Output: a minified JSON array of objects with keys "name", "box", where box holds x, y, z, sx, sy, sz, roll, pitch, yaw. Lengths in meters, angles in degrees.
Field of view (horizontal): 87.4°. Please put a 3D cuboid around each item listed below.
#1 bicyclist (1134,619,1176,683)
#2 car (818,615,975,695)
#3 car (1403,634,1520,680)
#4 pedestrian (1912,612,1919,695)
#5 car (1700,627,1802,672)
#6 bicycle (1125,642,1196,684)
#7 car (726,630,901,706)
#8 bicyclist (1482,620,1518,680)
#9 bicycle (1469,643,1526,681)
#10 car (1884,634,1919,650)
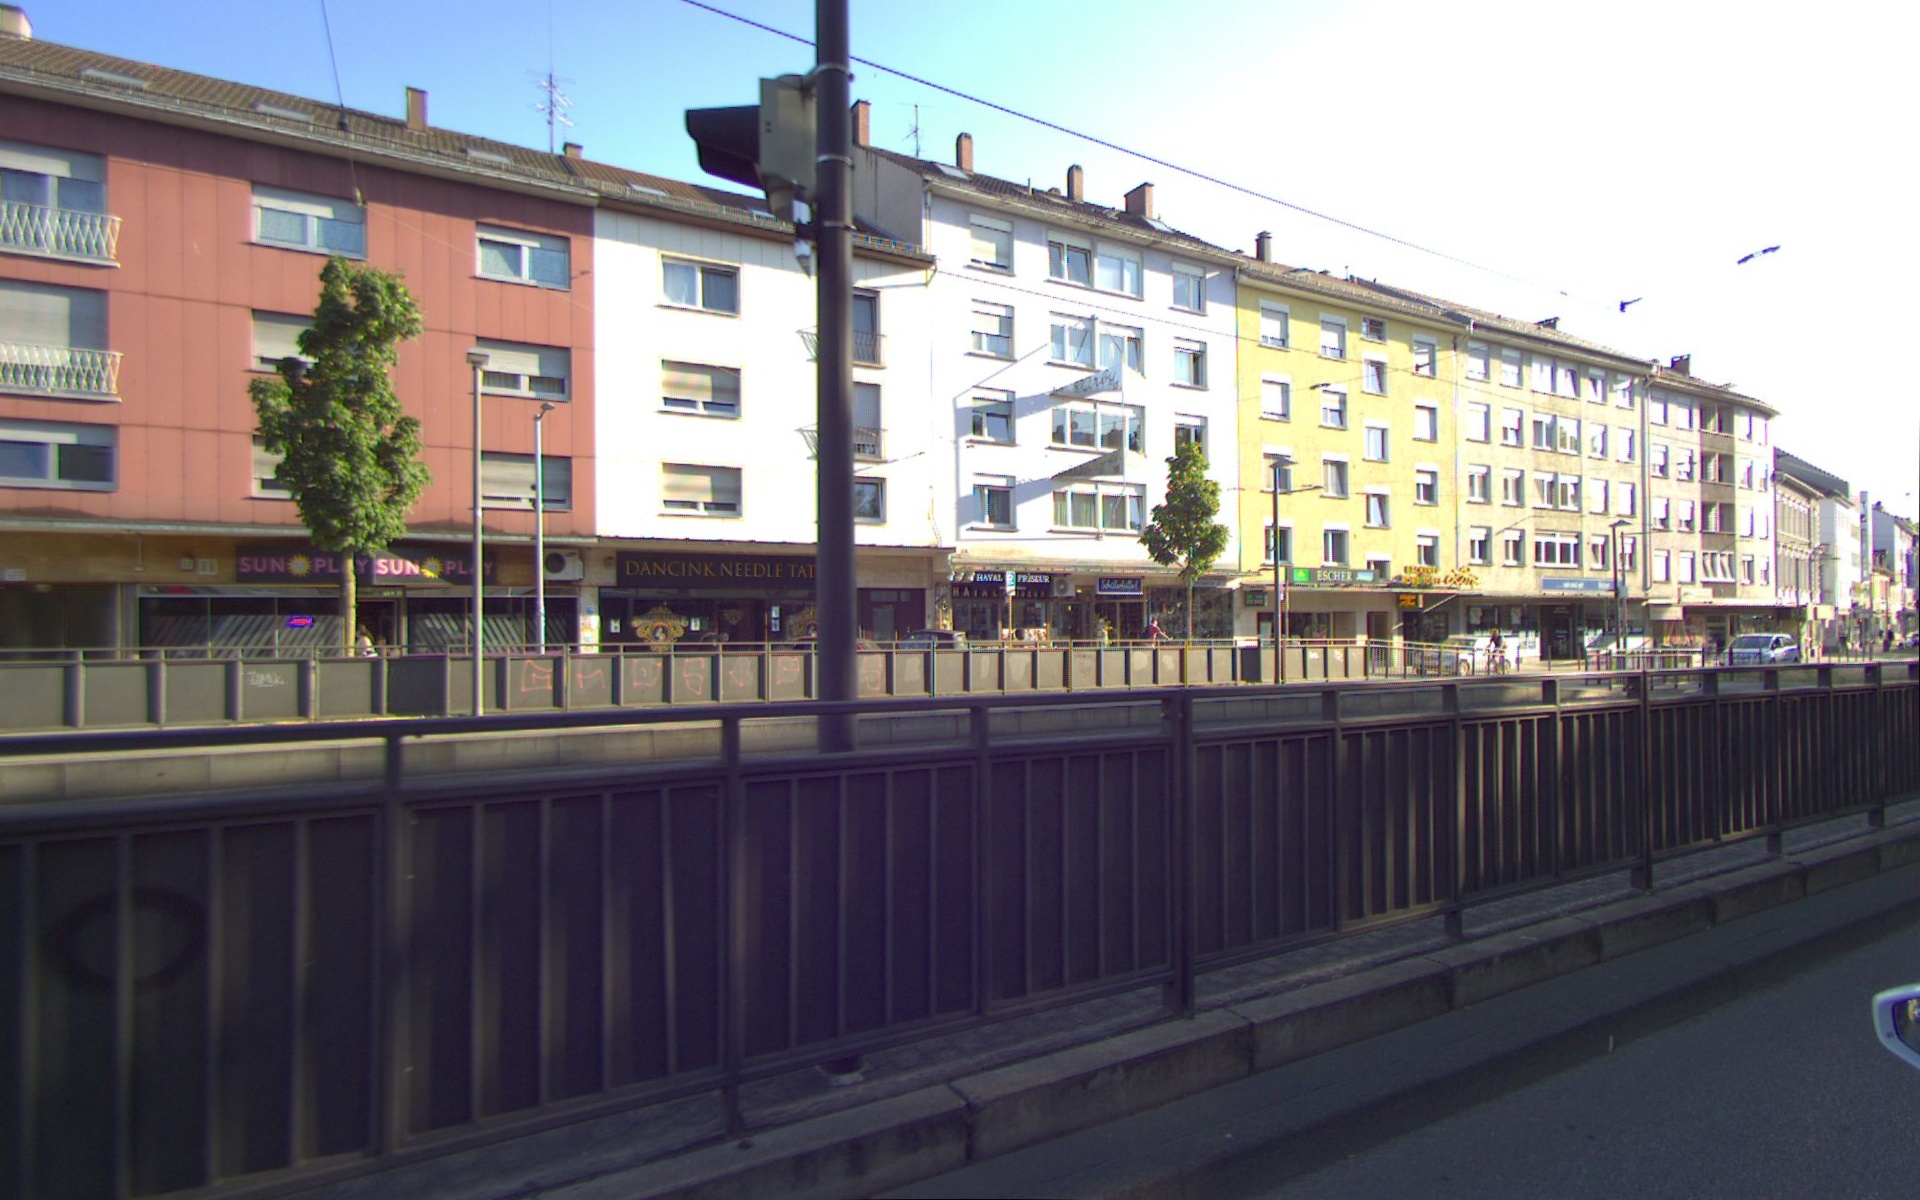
[{"name":"bicyclist","box":[6.102,1.590,31.444,1.043,1.912,0.690,0,3,-25]},{"name":"car","box":[-1.598,1.385,26.088,3.693,1.824,1.865,2,1,8]},{"name":"car","box":[18.539,2.071,37.079,4.365,1.498,1.981,2,0,-34]},{"name":"pedestrian","box":[21.971,1.208,22.575,0.584,1.873,0.736,1,-1,-36]},{"name":"car","box":[32.435,1.981,41.159,4.388,1.739,1.982,1,-2,-33]},{"name":"bicycle","box":[6.292,1.956,31.553,2.168,1.175,0.703,0,3,-25]},{"name":"car","box":[-3.406,1.565,23.800,3.693,1.511,1.865,2,1,8]},{"name":"bicyclist","box":[18.779,1.739,34.927,0.901,2.040,0.760,1,-2,-32]},{"name":"bicycle","box":[18.647,2.144,34.835,2.253,1.246,0.714,1,-2,-32]},{"name":"car","box":[90.164,3.940,94.348,4.460,1.431,2.001,0,-1,16]}]
